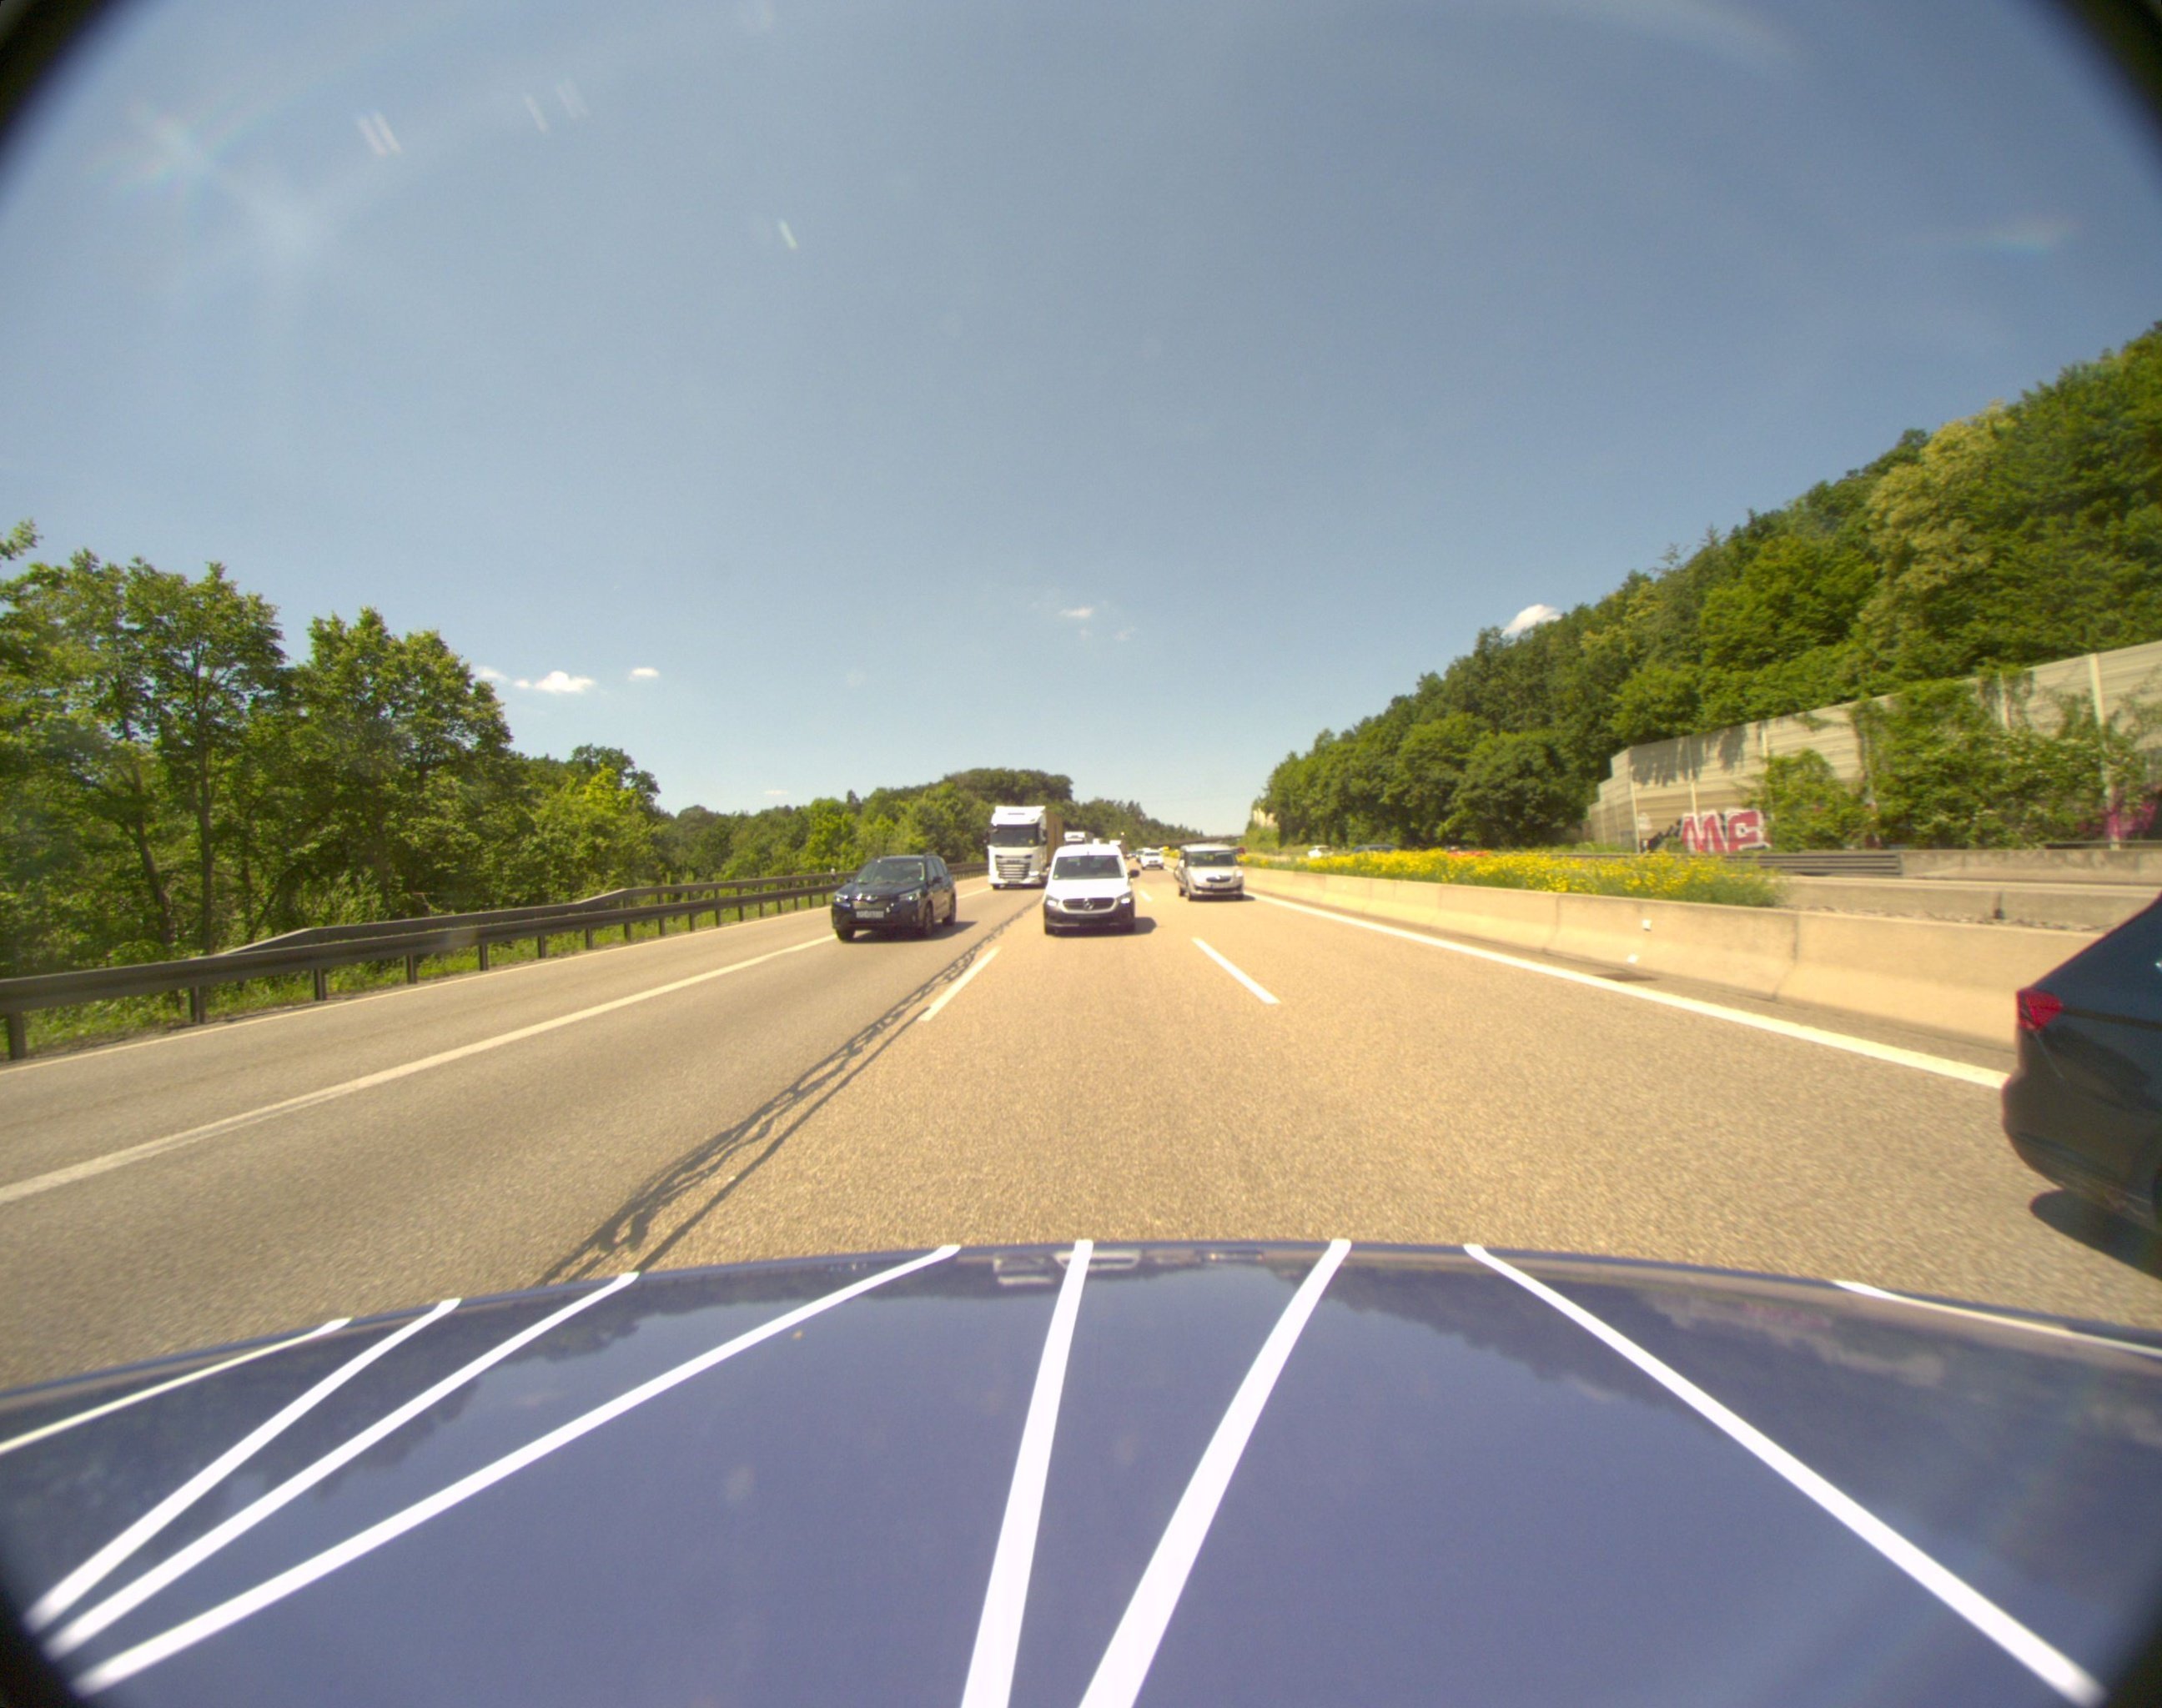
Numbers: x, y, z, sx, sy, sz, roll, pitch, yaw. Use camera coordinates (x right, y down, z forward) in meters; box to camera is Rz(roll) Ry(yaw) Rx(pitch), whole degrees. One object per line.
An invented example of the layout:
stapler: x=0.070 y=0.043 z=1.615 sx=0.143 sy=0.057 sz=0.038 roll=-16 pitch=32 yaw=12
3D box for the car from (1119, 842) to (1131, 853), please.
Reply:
car: x=7.944 y=-1.179 z=137.408 sx=1.902 sy=2.002 sz=4.000 roll=-2 pitch=1 yaw=0

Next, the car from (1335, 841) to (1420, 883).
car: x=12.220 y=0.290 z=31.647 sx=1.751 sy=1.568 sz=4.714 roll=-2 pitch=1 yaw=2

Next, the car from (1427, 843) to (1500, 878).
car: x=19.645 y=0.270 z=39.232 sx=1.743 sy=1.630 sz=4.187 roll=-2 pitch=1 yaw=1

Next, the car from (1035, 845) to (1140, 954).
car: x=0.200 y=0.757 z=15.139 sx=1.729 sy=1.760 sz=4.313 roll=-2 pitch=1 yaw=2

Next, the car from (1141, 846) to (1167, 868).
car: x=6.299 y=0.236 z=65.973 sx=1.998 sy=1.827 sz=4.000 roll=-2 pitch=1 yaw=2

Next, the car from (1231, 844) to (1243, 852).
car: x=31.905 y=-1.261 z=155.605 sx=1.731 sy=1.625 sz=4.000 roll=-2 pitch=0 yaw=2

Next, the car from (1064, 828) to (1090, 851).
car: x=-0.392 y=-1.723 z=88.807 sx=2.721 sy=2.535 sz=5.940 roll=-2 pitch=1 yaw=2

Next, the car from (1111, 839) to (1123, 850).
car: x=8.334 y=-2.230 z=175.660 sx=2.721 sy=2.535 sz=5.940 roll=-2 pitch=1 yaw=2

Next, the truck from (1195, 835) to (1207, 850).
truck: x=29.067 y=-2.733 z=184.302 sx=1.998 sy=3.486 sz=6.027 roll=-2 pitch=0 yaw=2

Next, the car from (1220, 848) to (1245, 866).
car: x=14.513 y=0.278 z=72.952 sx=1.646 sy=1.641 sz=3.712 roll=-2 pitch=1 yaw=2

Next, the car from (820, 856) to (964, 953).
car: x=-3.861 y=0.957 z=16.297 sx=1.816 sy=1.658 sz=4.203 roll=-2 pitch=1 yaw=2

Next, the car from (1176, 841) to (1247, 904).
car: x=4.241 y=0.549 z=25.208 sx=1.780 sy=1.833 sz=4.000 roll=-2 pitch=1 yaw=2

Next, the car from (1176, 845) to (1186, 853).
car: x=24.587 y=-1.221 z=187.051 sx=1.998 sy=2.002 sz=4.000 roll=-2 pitch=0 yaw=1

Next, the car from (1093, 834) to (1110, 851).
car: x=3.400 y=-1.915 z=124.638 sx=2.721 sy=2.535 sz=5.940 roll=-2 pitch=1 yaw=2

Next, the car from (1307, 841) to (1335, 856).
car: x=24.957 y=-0.614 z=79.205 sx=1.634 sy=1.474 sz=4.313 roll=-2 pitch=1 yaw=2

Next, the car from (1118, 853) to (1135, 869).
car: x=5.979 y=0.925 z=100.591 sx=1.999 sy=2.002 sz=3.999 roll=-2 pitch=1 yaw=0

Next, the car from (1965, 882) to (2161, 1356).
car: x=4.147 y=0.827 z=0.472 sx=1.737 sy=1.419 sz=4.729 roll=-2 pitch=0 yaw=1

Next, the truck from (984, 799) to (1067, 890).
truck: x=-2.739 y=-0.597 z=43.441 sx=2.789 sy=4.145 sz=16.267 roll=-1 pitch=1 yaw=2
